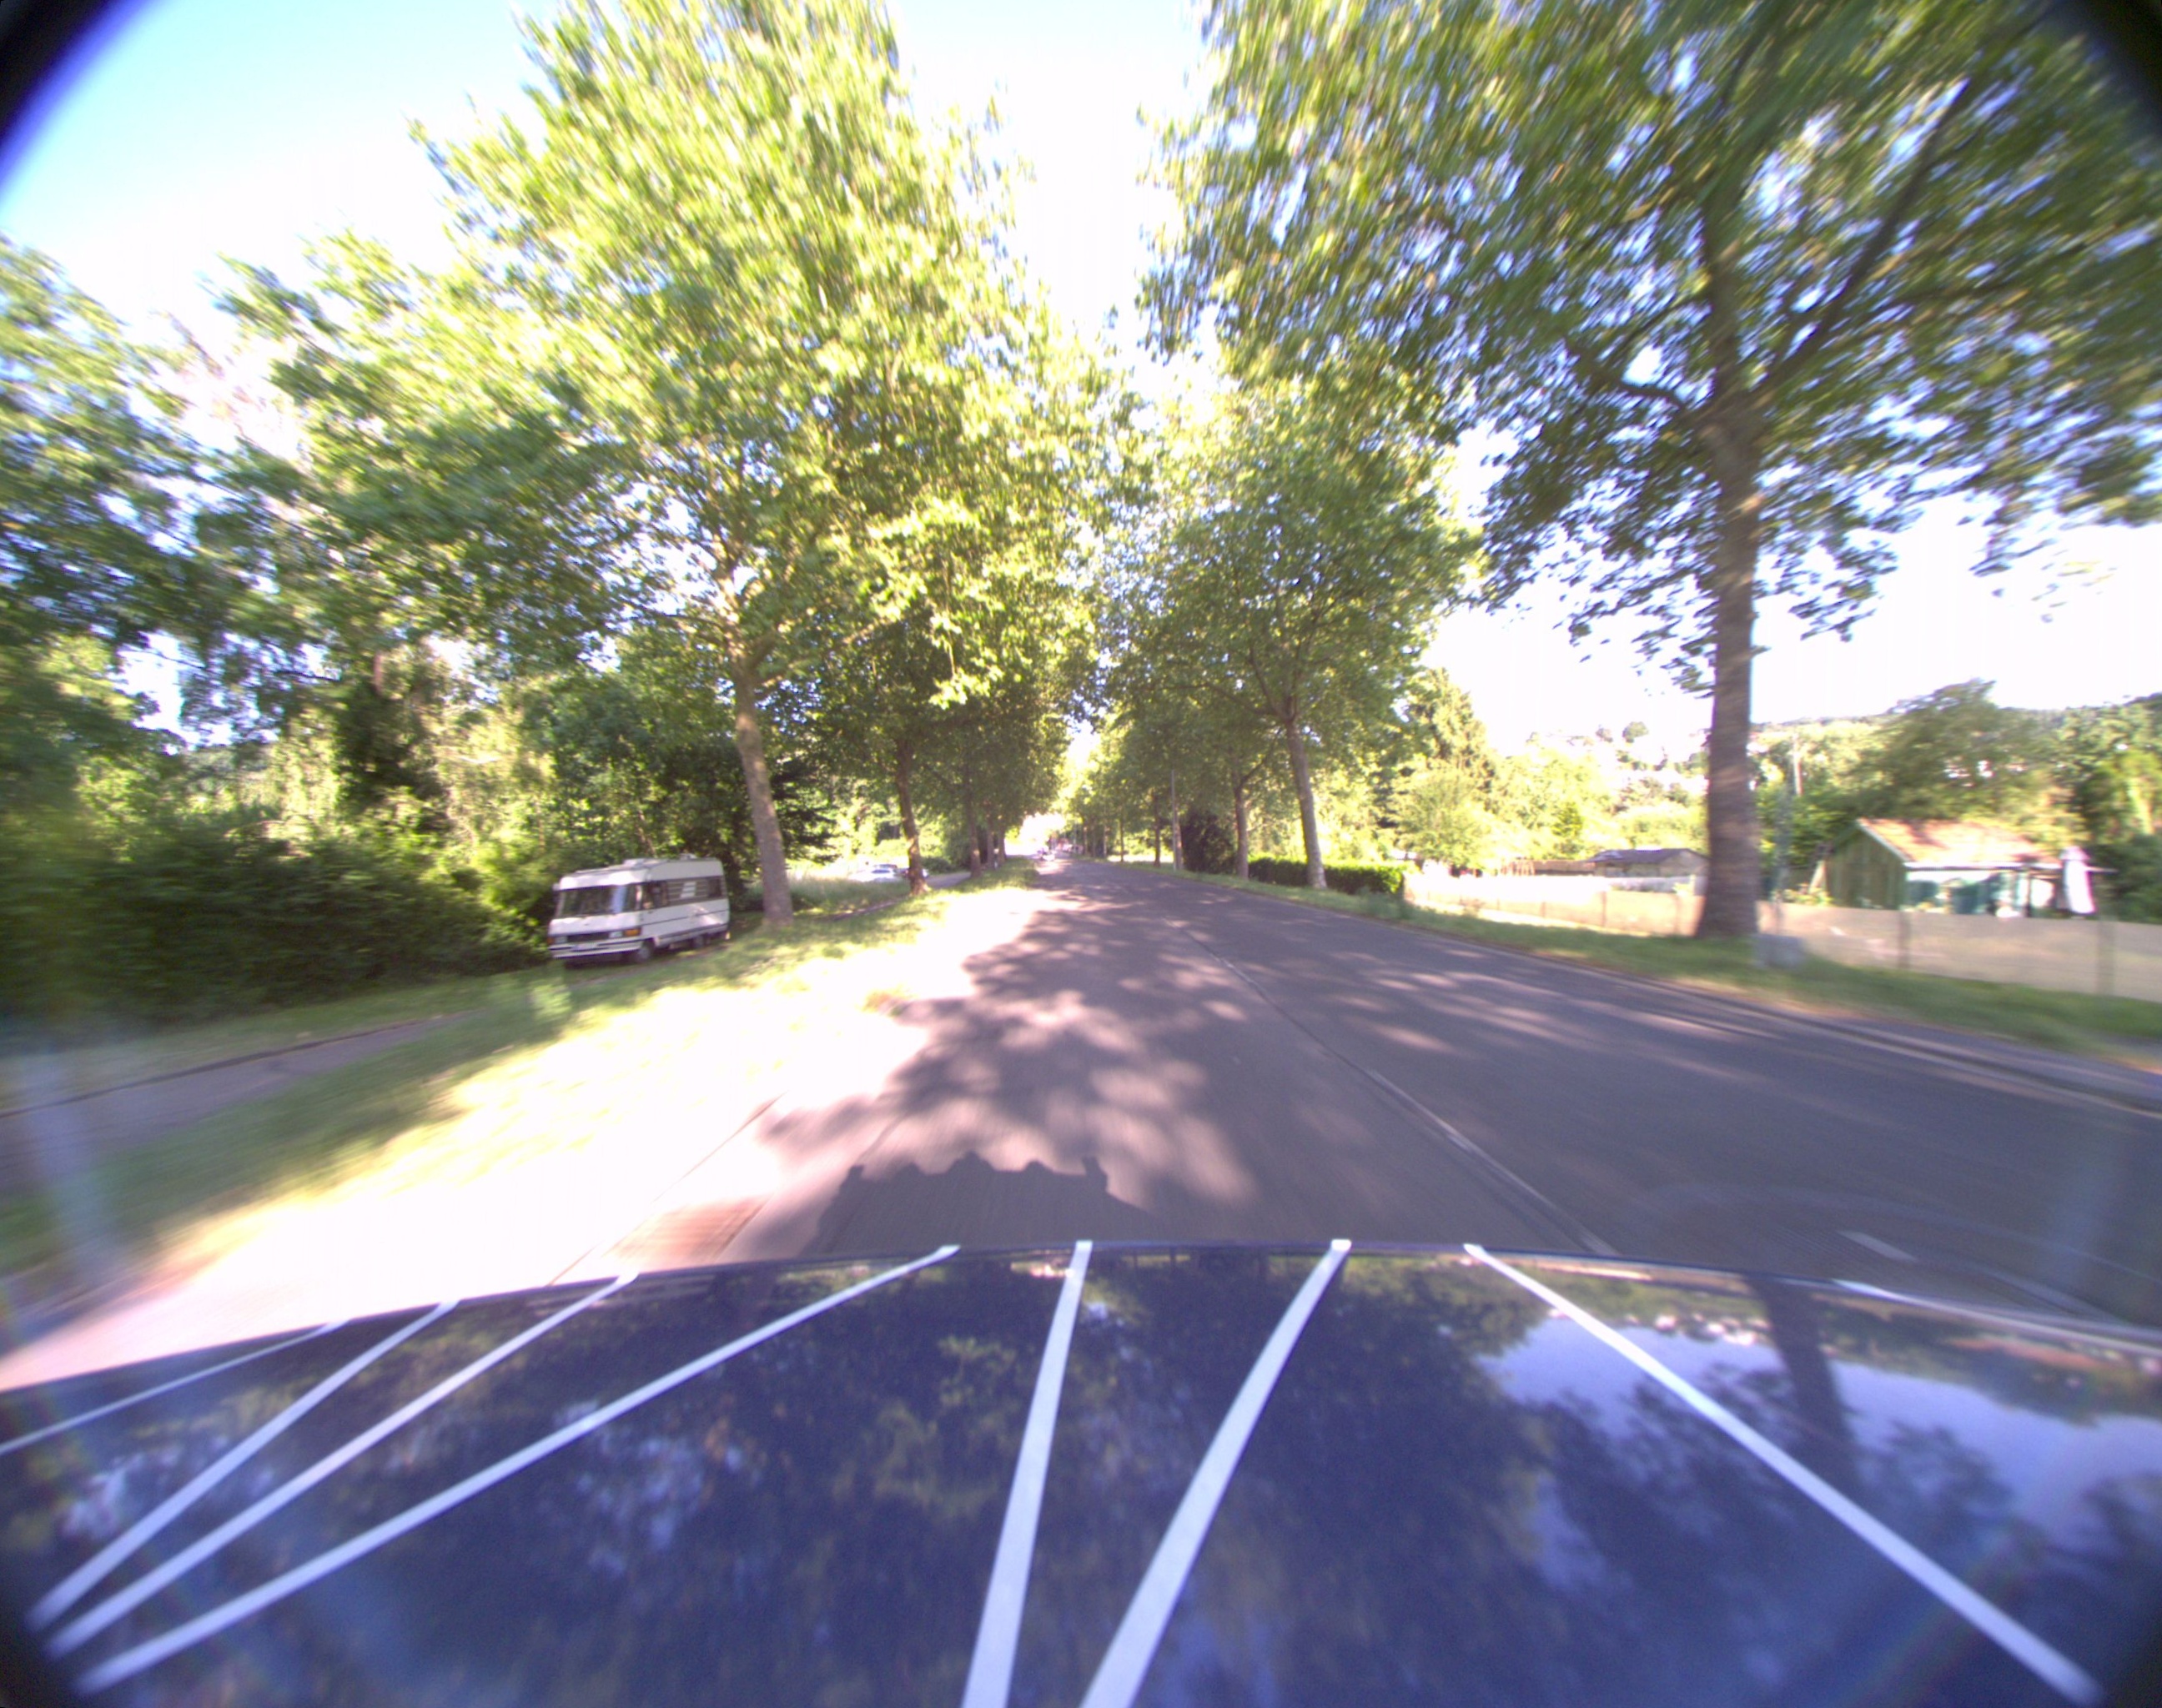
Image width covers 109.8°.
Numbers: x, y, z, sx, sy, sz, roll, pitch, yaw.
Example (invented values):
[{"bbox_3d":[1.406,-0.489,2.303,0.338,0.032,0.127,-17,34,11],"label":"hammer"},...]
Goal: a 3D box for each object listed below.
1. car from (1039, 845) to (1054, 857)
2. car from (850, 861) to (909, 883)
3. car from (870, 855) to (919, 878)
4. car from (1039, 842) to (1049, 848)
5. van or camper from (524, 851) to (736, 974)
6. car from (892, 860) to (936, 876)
[{"bbox_3d":[-4.873,-0.451,108.319,1.999,1.656,3.998,-2,1,-4],"label":"car"},{"bbox_3d":[-17.654,1.587,66.556,4.510,1.660,2.000,-2,1,6],"label":"car"},{"bbox_3d":[-17.758,1.152,72.582,3.995,2.002,2.000,-2,1,6],"label":"car"},{"bbox_3d":[-8.439,-2.011,173.468,1.869,1.421,4.000,-1,1,1],"label":"car"},{"bbox_3d":[-12.099,1.399,21.077,2.386,2.784,5.683,-2,1,0],"label":"van or camper"},{"bbox_3d":[-17.259,1.461,78.801,3.995,1.378,2.000,-2,1,6],"label":"car"}]
